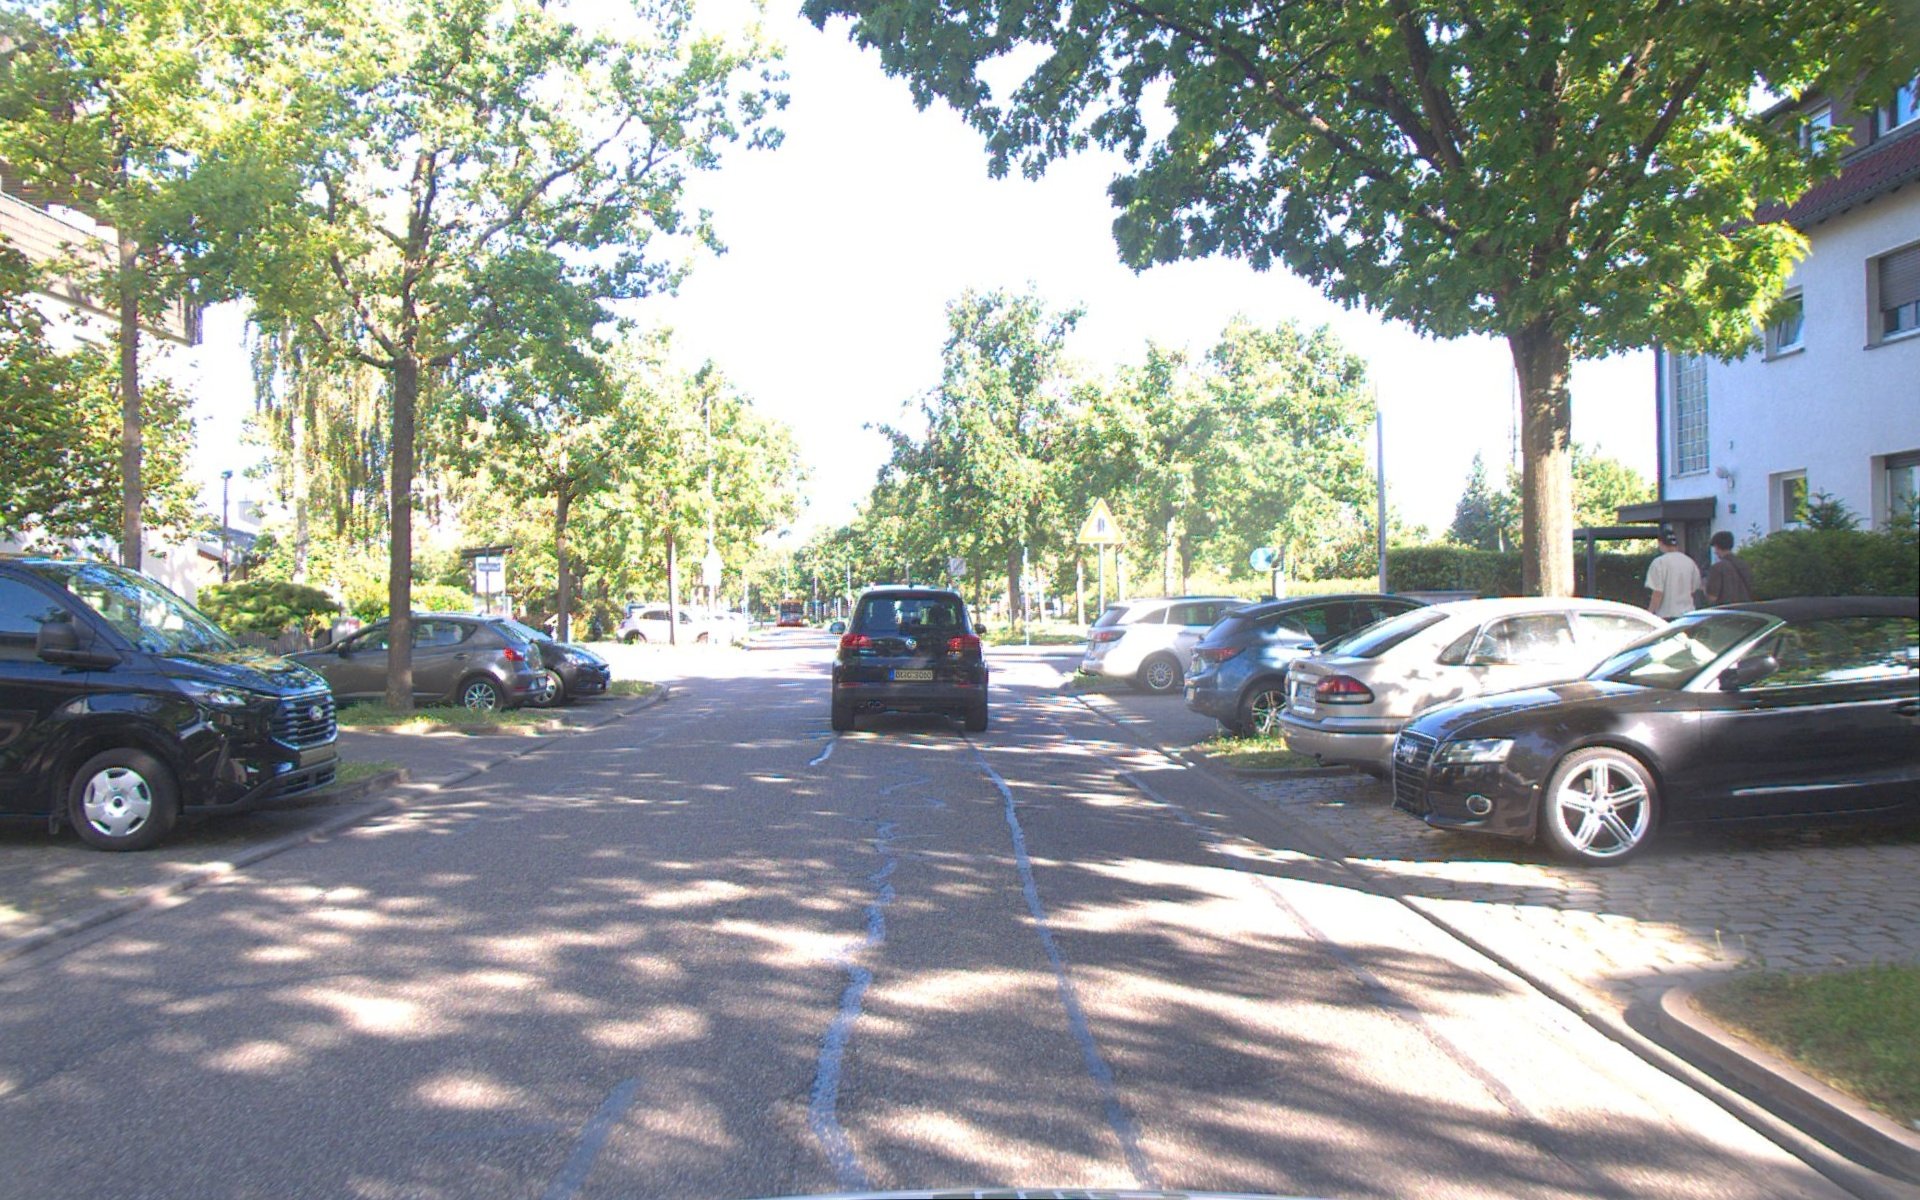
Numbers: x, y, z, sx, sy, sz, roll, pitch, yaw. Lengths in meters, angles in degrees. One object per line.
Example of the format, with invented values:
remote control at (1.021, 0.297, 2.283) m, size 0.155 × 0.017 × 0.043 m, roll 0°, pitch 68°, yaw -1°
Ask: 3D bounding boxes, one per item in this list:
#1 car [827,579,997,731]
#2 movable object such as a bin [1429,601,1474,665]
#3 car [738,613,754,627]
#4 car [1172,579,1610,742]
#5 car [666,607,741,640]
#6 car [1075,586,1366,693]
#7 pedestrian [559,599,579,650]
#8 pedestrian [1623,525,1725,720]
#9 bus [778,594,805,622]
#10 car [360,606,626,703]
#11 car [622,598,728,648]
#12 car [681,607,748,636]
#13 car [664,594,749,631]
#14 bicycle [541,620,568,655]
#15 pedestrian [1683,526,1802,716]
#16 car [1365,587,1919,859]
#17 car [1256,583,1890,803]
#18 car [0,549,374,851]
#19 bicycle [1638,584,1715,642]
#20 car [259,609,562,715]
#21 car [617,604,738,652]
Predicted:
car at (-0.487, 0.613, 20.208) m, size 1.799 × 1.665 × 3.959 m, roll 0°, pitch 0°, yaw 2°
movable object such as a bin at (8.483, 0.563, 28.548) m, size 0.523 × 1.063 × 0.699 m, roll -1°, pitch 0°, yaw -3°
car at (-27.727, 2.557, 214.460) m, size 1.816 × 1.723 × 3.951 m, roll -1°, pitch -1°, yaw -5°
car at (4.493, 0.608, 17.690) m, size 4.189 × 1.529 × 1.796 m, roll -2°, pitch 0°, yaw 0°
car at (-14.094, 1.288, 91.013) m, size 3.938 × 1.676 × 1.809 m, roll -1°, pitch -1°, yaw -5°
car at (4.082, 0.601, 26.453) m, size 4.338 × 1.517 × 1.796 m, roll -2°, pitch 0°, yaw 0°
pedestrian at (-12.307, 0.766, 52.041) m, size 0.432 × 1.584 × 0.801 m, roll -1°, pitch 0°, yaw -2°
pedestrian at (7.205, 0.230, 16.731) m, size 0.595 × 1.906 × 0.924 m, roll -1°, pitch -1°, yaw 1°
bus at (-19.363, 0.961, 189.787) m, size 2.871 × 3.056 × 5.731 m, roll -1°, pitch -1°, yaw -5°
car at (-7.428, 0.847, 26.555) m, size 3.778 × 1.484 × 1.713 m, roll 0°, pitch 0°, yaw 0°
car at (-11.254, 0.905, 65.610) m, size 3.938 × 1.872 × 1.895 m, roll -1°, pitch 0°, yaw -5°
car at (-14.995, 1.290, 101.283) m, size 3.938 × 1.676 × 1.809 m, roll -1°, pitch 0°, yaw -5°
car at (-12.343, 0.614, 80.716) m, size 3.938 × 1.676 × 1.809 m, roll -2°, pitch 0°, yaw -5°
bicycle at (-12.743, 1.168, 51.992) m, size 0.438 × 1.057 × 1.892 m, roll -1°, pitch -1°, yaw -2°
pedestrian at (7.906, 0.213, 16.741) m, size 0.817 × 1.860 × 0.710 m, roll -1°, pitch -1°, yaw 1°
car at (4.821, 0.650, 9.965) m, size 4.258 × 1.386 × 1.873 m, roll -2°, pitch -1°, yaw -1°
car at (4.546, 0.661, 12.727) m, size 4.189 × 1.439 × 1.796 m, roll -2°, pitch 0°, yaw 0°
car at (-6.836, 0.638, 11.669) m, size 4.683 × 1.950 × 2.018 m, roll 0°, pitch 0°, yaw -2°
bicycle at (13.727, 0.242, 31.677) m, size 1.653 × 1.072 × 0.526 m, roll -2°, pitch 0°, yaw -34°
car at (-7.741, 0.856, 23.564) m, size 3.742 × 1.444 × 1.771 m, roll 0°, pitch 0°, yaw -2°
car at (-10.253, 1.010, 60.314) m, size 4.159 × 1.651 × 1.894 m, roll -1°, pitch -1°, yaw -5°
